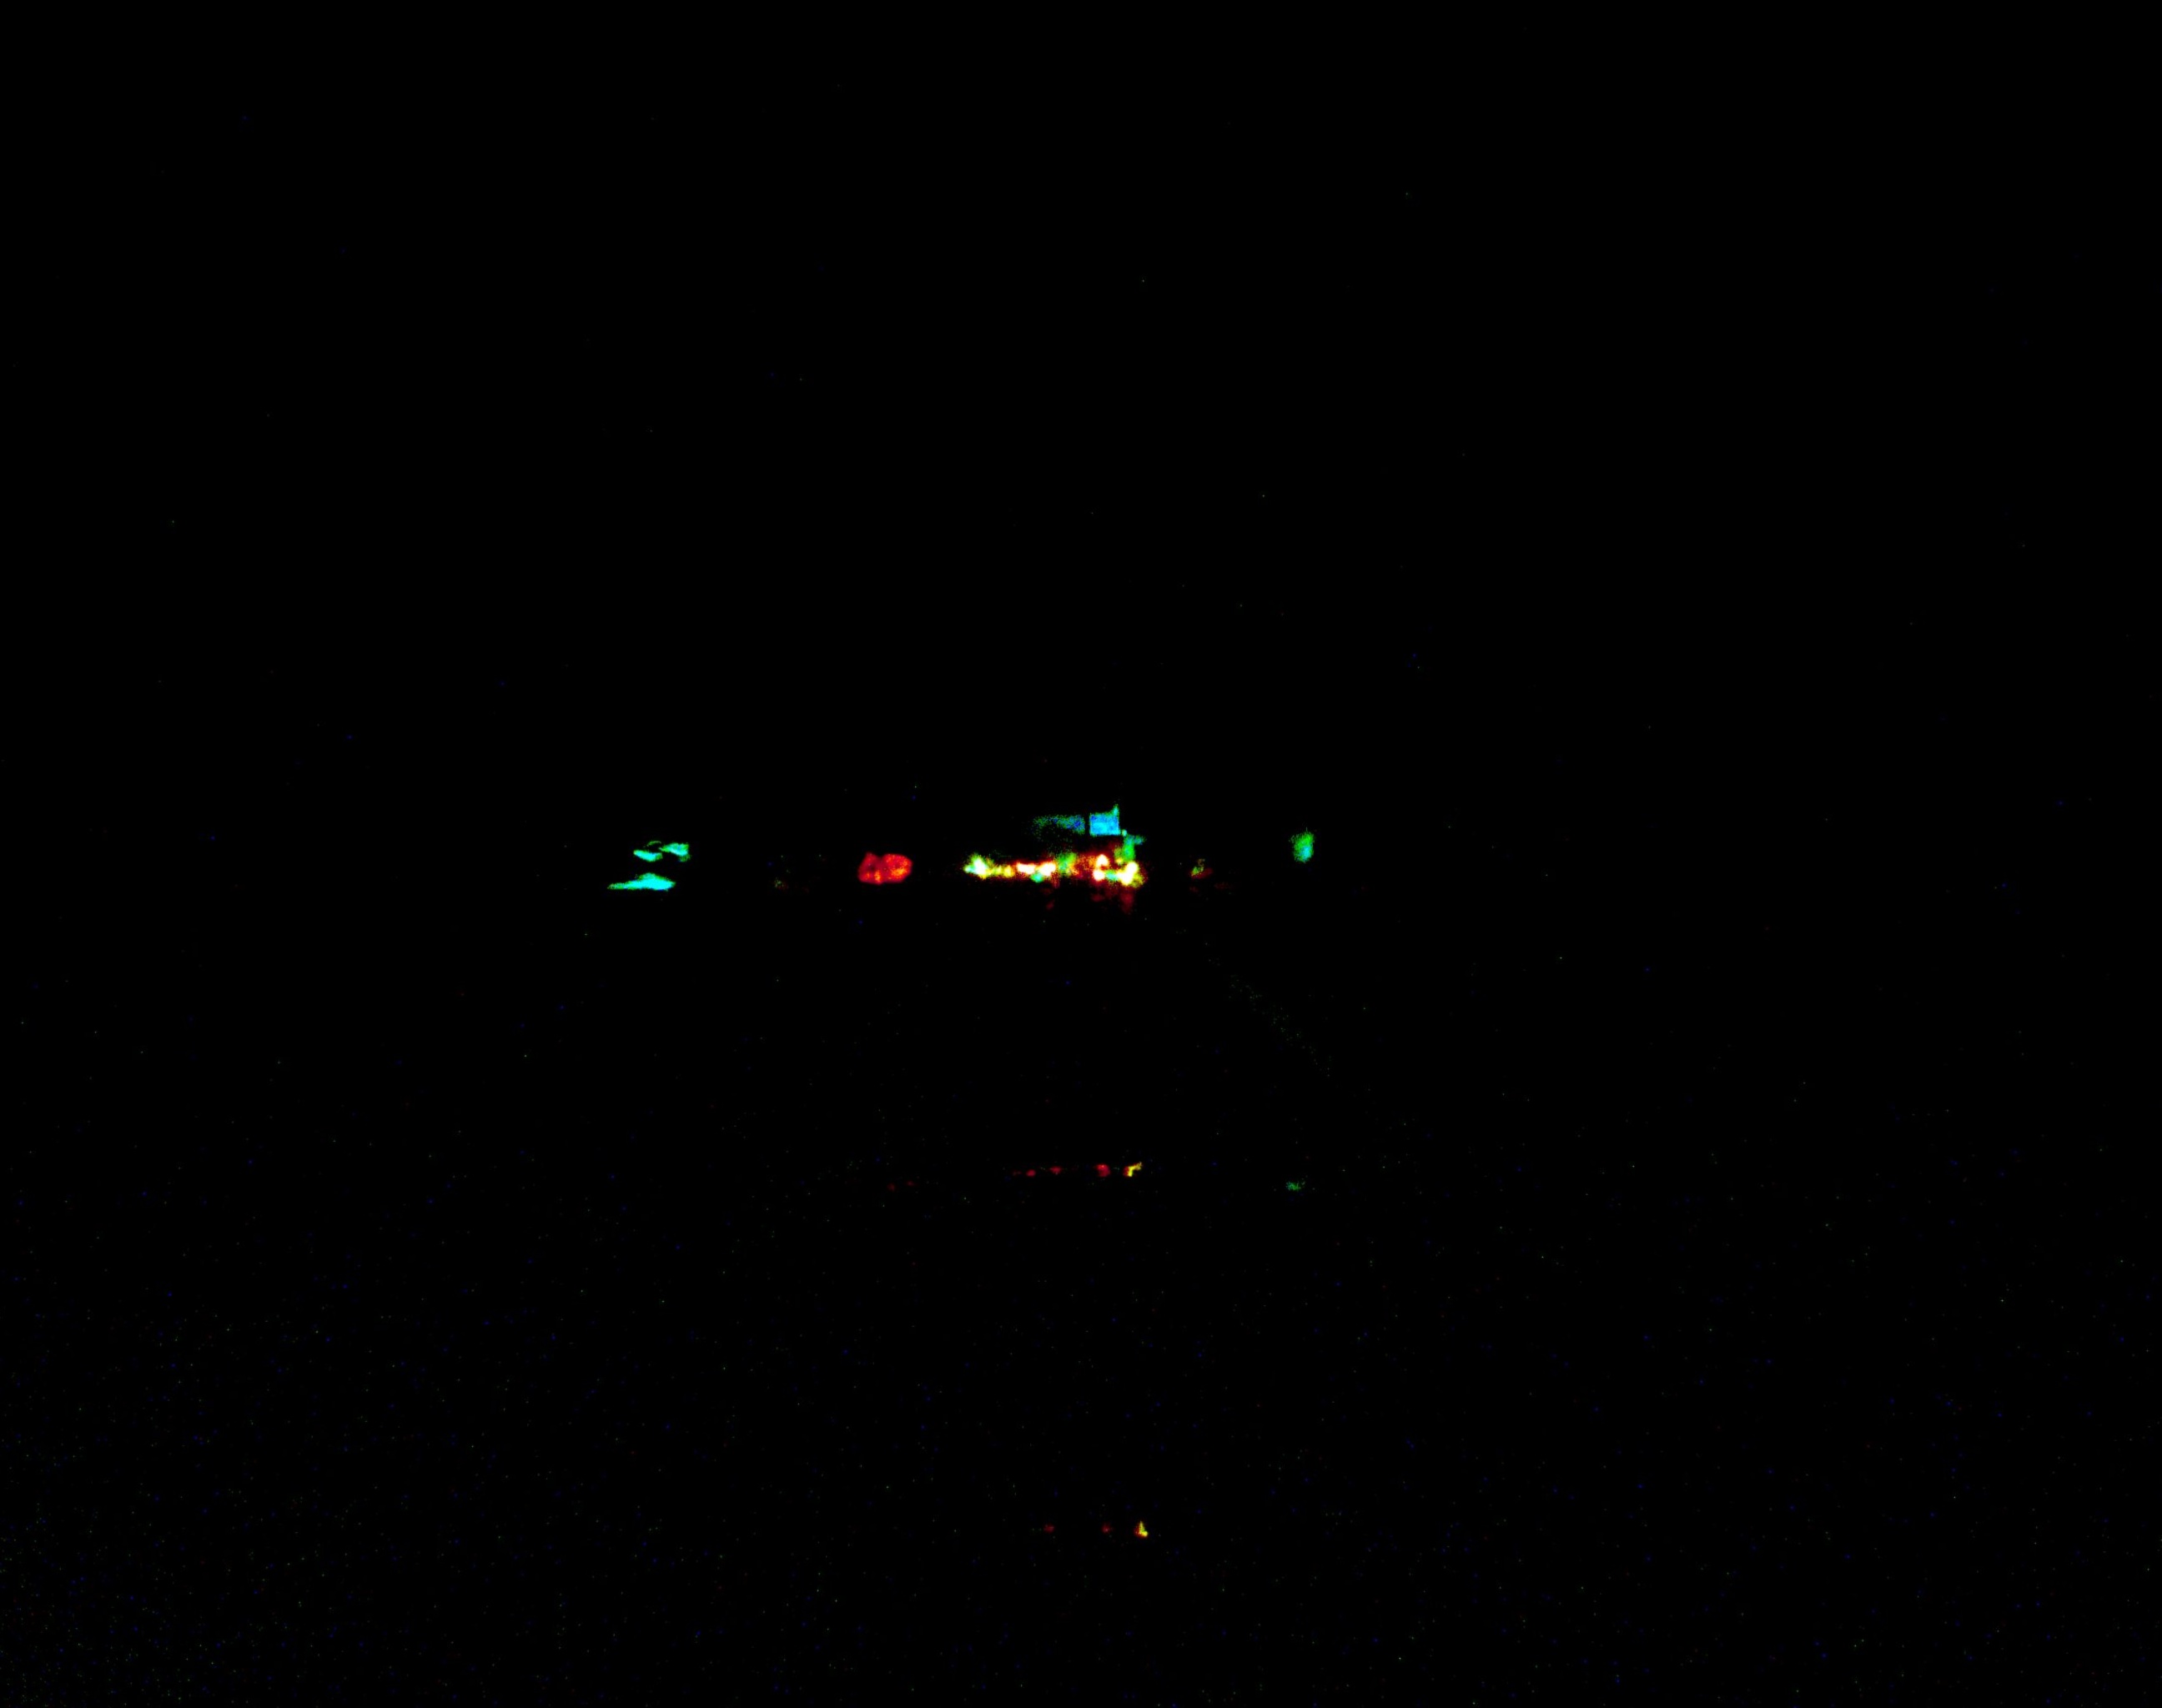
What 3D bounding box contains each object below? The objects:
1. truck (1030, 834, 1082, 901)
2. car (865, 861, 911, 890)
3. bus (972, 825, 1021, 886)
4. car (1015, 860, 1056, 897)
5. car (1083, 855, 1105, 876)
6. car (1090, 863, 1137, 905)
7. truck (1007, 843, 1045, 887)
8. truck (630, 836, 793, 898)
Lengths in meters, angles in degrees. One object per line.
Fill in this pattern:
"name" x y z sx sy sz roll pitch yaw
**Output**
"truck" -2.159 1.236 75.452 4.195 5.648 11.468 0 -1 1
"car" -10.959 1.205 46.572 1.990 1.596 3.993 0 -1 -5
"bus" -6.627 0.176 65.441 3.089 4.508 10.904 0 -1 -2
"car" -2.548 1.383 46.667 2.119 2.014 4.643 0 -1 -1
"car" 1.251 1.192 81.095 2.119 2.014 4.643 0 -1 -1
"car" 1.463 1.320 37.273 1.986 1.808 4.001 0 -1 1
"truck" -7.336 1.467 110.822 4.195 5.648 11.468 0 -1 1
"truck" -26.217 0.938 59.644 3.485 3.888 17.189 0 -1 2
